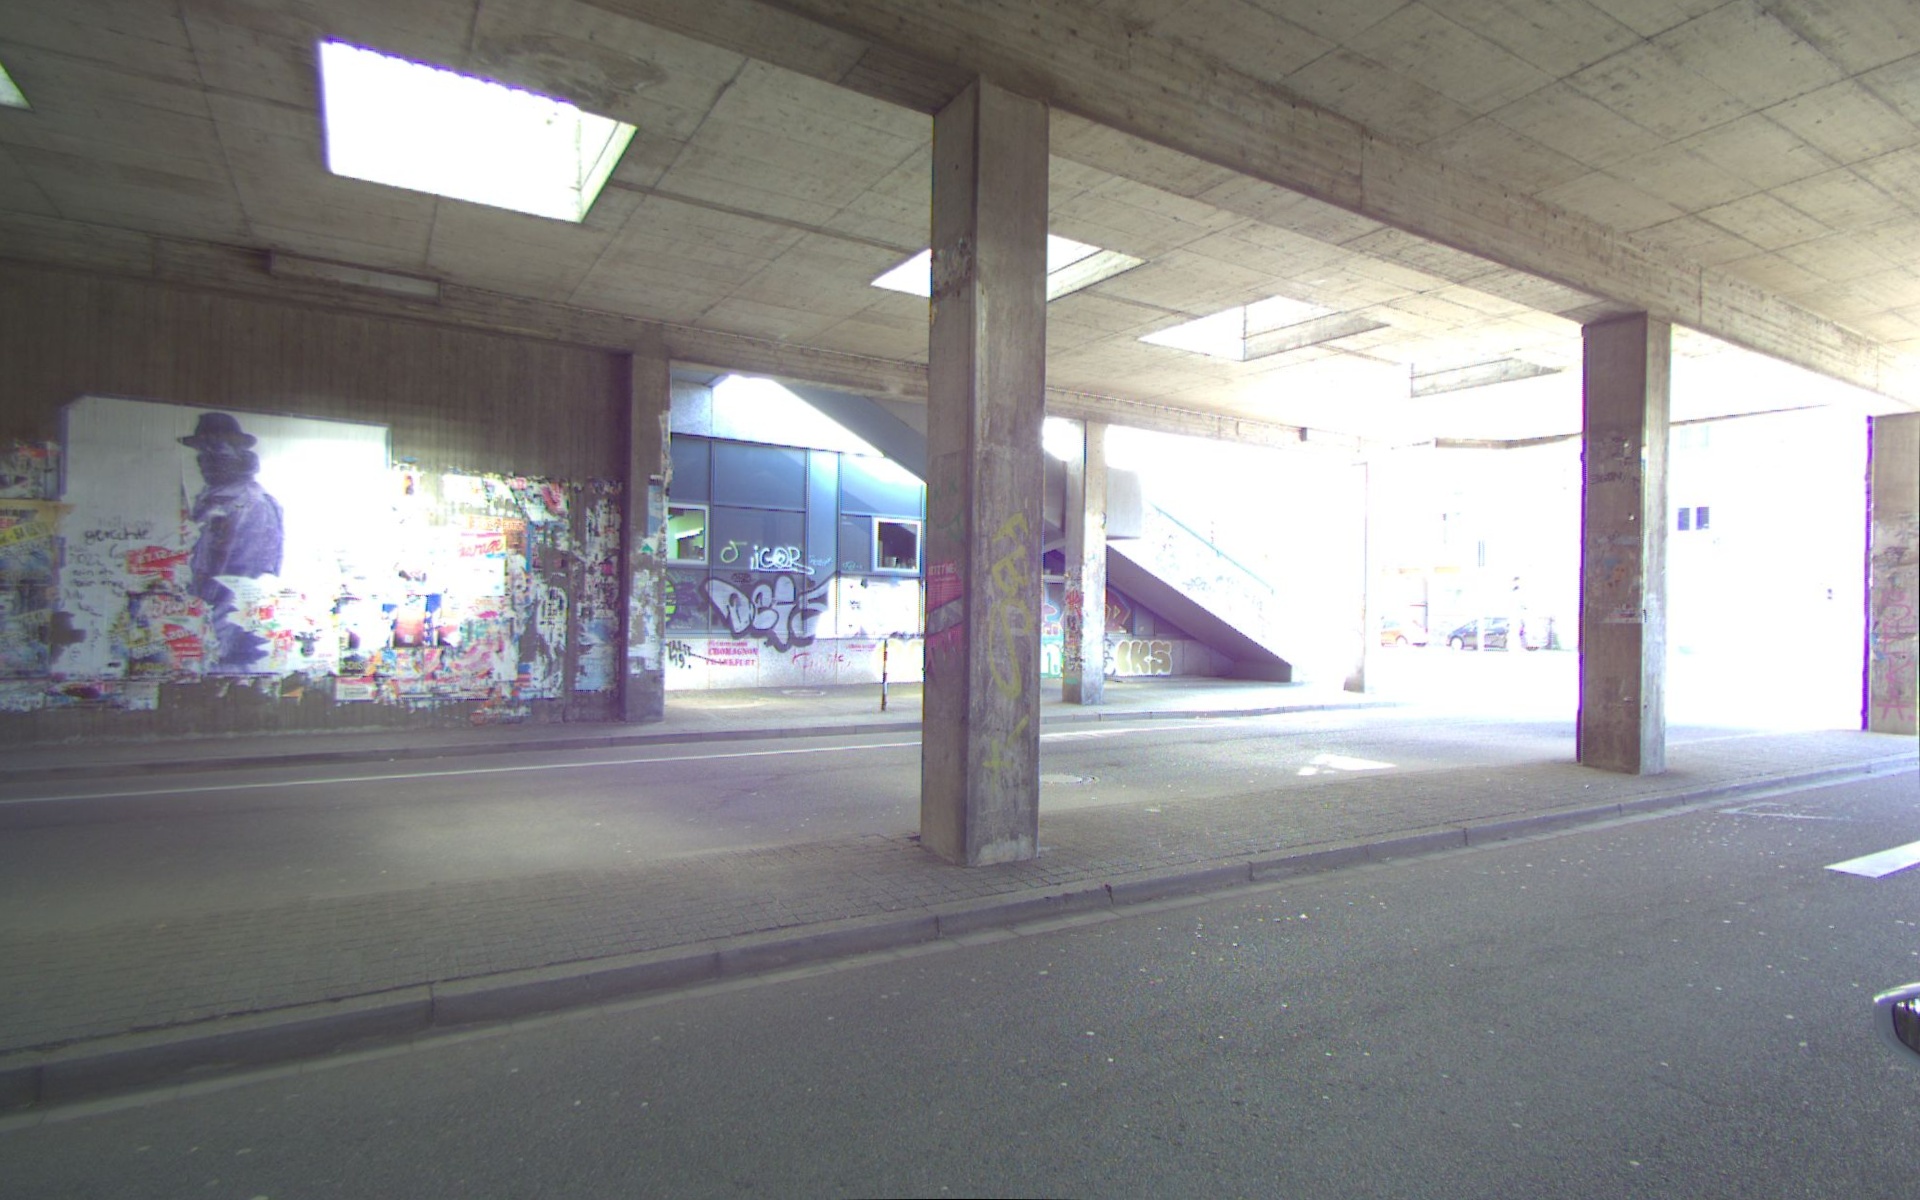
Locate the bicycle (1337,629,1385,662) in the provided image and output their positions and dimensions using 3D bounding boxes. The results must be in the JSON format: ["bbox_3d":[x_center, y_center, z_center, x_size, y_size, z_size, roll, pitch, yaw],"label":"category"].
[{"bbox_3d":[14.836,1.662,37.205,0.470,1.133,1.734,2,0,-26],"label":"bicycle"}]

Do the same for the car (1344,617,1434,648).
[{"bbox_3d":[22.478,1.674,52.727,1.905,1.428,3.965,2,0,-32],"label":"car"}]

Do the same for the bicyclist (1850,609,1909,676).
[{"bbox_3d":[20.181,0.936,22.053,0.675,1.442,0.736,2,-2,-23],"label":"bicyclist"}]

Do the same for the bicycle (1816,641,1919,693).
[{"bbox_3d":[20.154,1.455,22.043,0.708,1.063,1.986,2,-2,-22],"label":"bicycle"}]

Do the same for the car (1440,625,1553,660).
[{"bbox_3d":[25.406,1.985,47.736,1.905,1.428,4.382,2,0,-32],"label":"car"}]
